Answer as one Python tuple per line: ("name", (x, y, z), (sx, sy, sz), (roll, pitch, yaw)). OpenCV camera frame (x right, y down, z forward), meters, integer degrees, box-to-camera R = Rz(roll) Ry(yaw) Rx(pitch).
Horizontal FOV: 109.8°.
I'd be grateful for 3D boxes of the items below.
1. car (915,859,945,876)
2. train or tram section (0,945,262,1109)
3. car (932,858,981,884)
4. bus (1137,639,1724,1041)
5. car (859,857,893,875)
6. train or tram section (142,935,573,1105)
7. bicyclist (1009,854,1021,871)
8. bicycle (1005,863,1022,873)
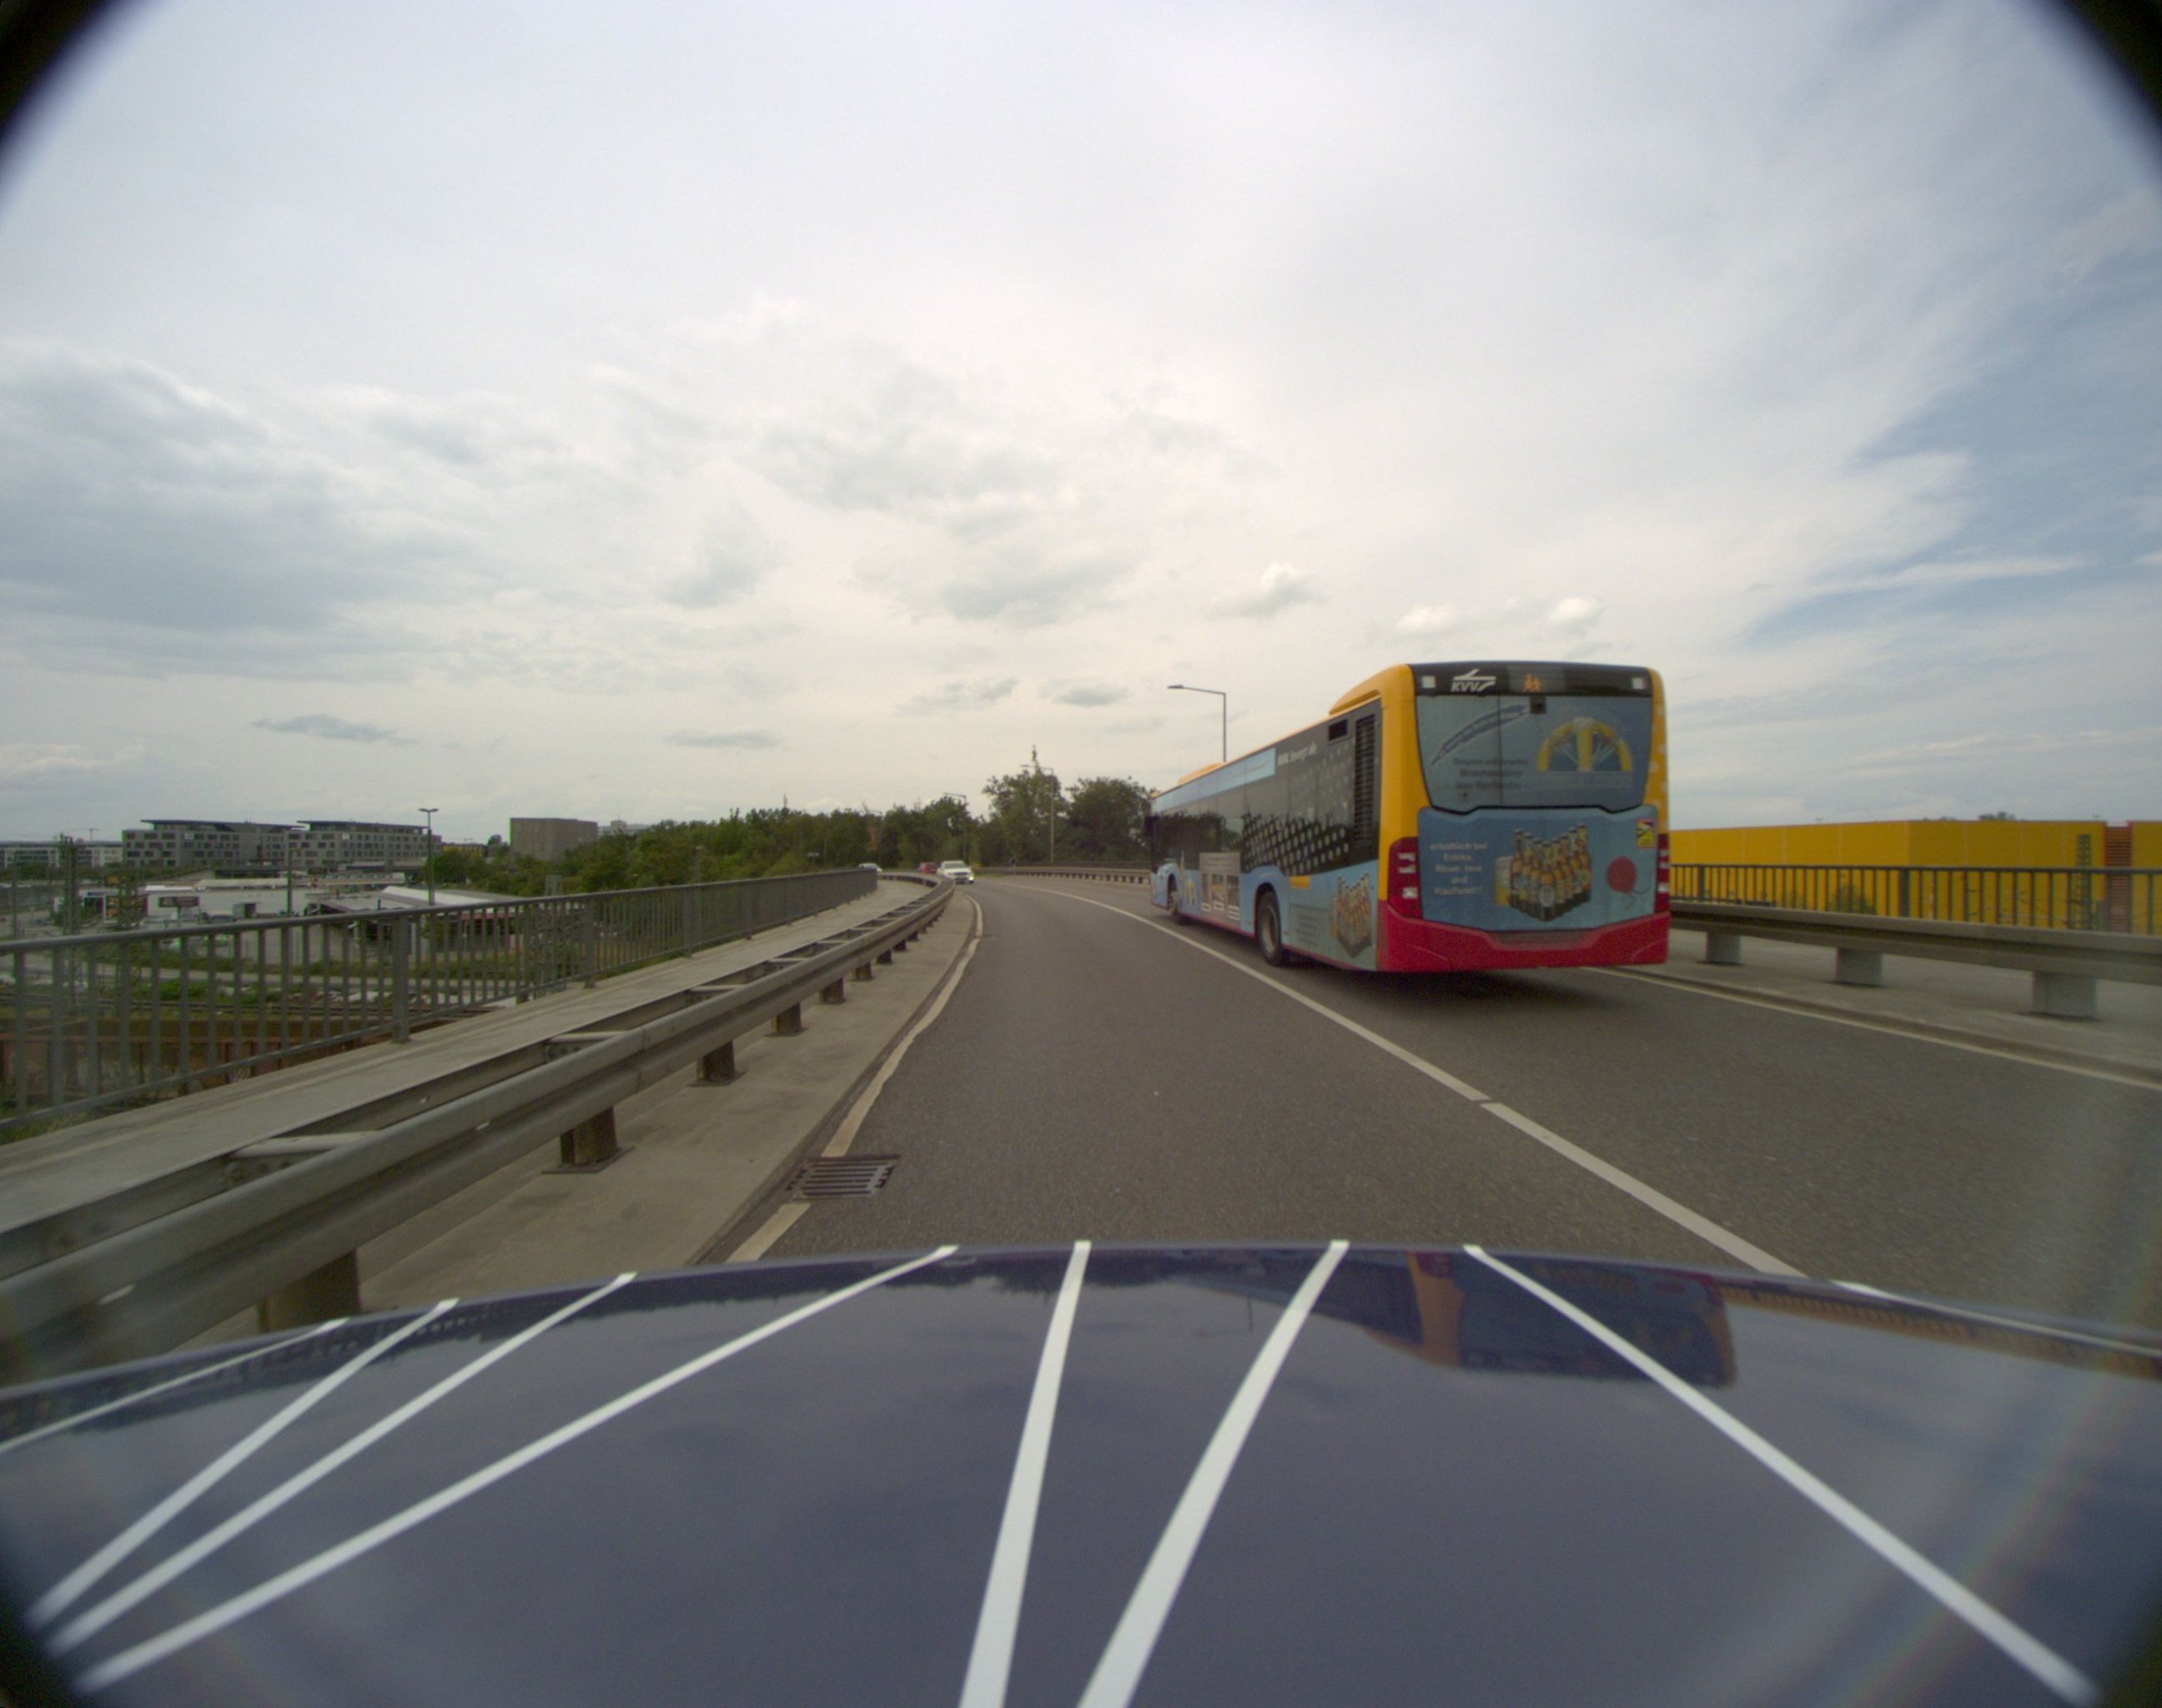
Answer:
("car", (-14.295, 1.246, 71.807), (1.767, 1.483, 3.991), (-2, 1, -27))
("train or tram section", (-41.884, 6.877, 30.549), (14.245, 5.566, 3.659), (-2, 1, 3))
("car", (-7.920, 1.082, 48.063), (1.941, 1.448, 3.879), (-4, -1, -25))
("bus", (3.413, -0.169, 12.728), (3.040, 3.214, 12.945), (-2, 0, -4))
("car", (-21.129, 1.264, 78.293), (1.967, 1.694, 4.422), (-3, -1, -34))
("train or tram section", (-27.984, 6.366, 29.834), (13.638, 5.542, 3.653), (-2, 1, 3))
("bicyclist", (-5.744, 0.750, 66.027), (0.714, 1.436, 0.746), (-3, 0, -30))
("bicycle", (-5.889, 1.253, 66.333), (0.695, 0.793, 1.889), (-3, 0, -30))
